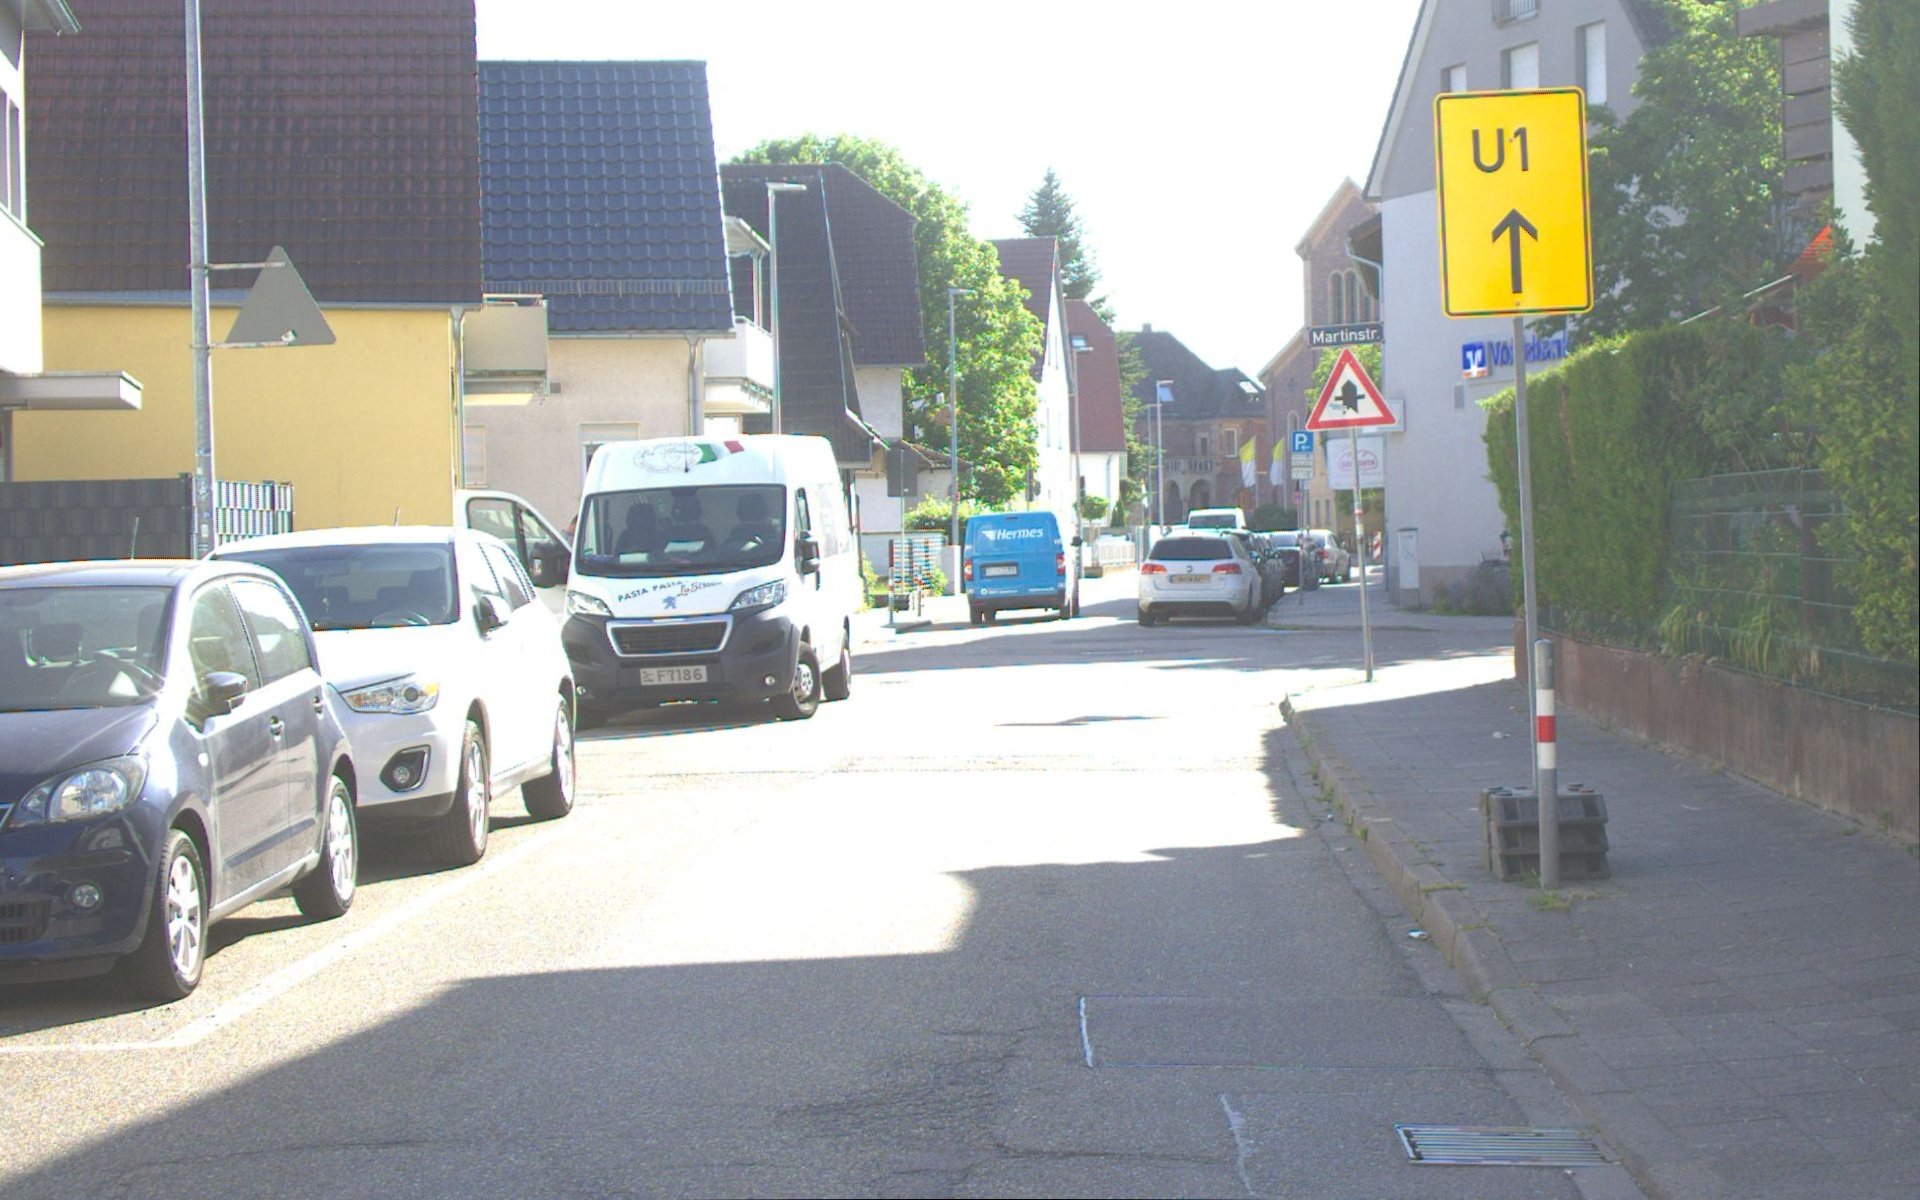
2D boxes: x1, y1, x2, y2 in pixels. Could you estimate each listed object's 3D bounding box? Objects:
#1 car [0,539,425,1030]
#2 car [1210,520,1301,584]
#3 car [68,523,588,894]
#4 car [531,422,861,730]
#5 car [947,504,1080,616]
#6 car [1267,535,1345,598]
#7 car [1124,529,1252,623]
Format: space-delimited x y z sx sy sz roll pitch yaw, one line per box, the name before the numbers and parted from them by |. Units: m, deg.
car | -3.293 0.576 12.831 1.704 1.513 4.121 -3 1 3
car | 7.089 -1.124 82.206 1.845 1.408 3.998 1 -1 9
car | -3.012 0.440 17.192 1.673 1.566 3.966 -3 1 2
car | -2.201 -0.238 30.272 2.077 2.386 5.208 -3 1 4
car | 0.893 -0.743 60.734 1.920 1.795 4.781 -3 2 -3
car | 9.334 -0.879 92.568 1.931 1.565 3.998 1 -1 8
car | 3.624 -0.354 55.179 1.844 1.408 4.000 1 -1 1
